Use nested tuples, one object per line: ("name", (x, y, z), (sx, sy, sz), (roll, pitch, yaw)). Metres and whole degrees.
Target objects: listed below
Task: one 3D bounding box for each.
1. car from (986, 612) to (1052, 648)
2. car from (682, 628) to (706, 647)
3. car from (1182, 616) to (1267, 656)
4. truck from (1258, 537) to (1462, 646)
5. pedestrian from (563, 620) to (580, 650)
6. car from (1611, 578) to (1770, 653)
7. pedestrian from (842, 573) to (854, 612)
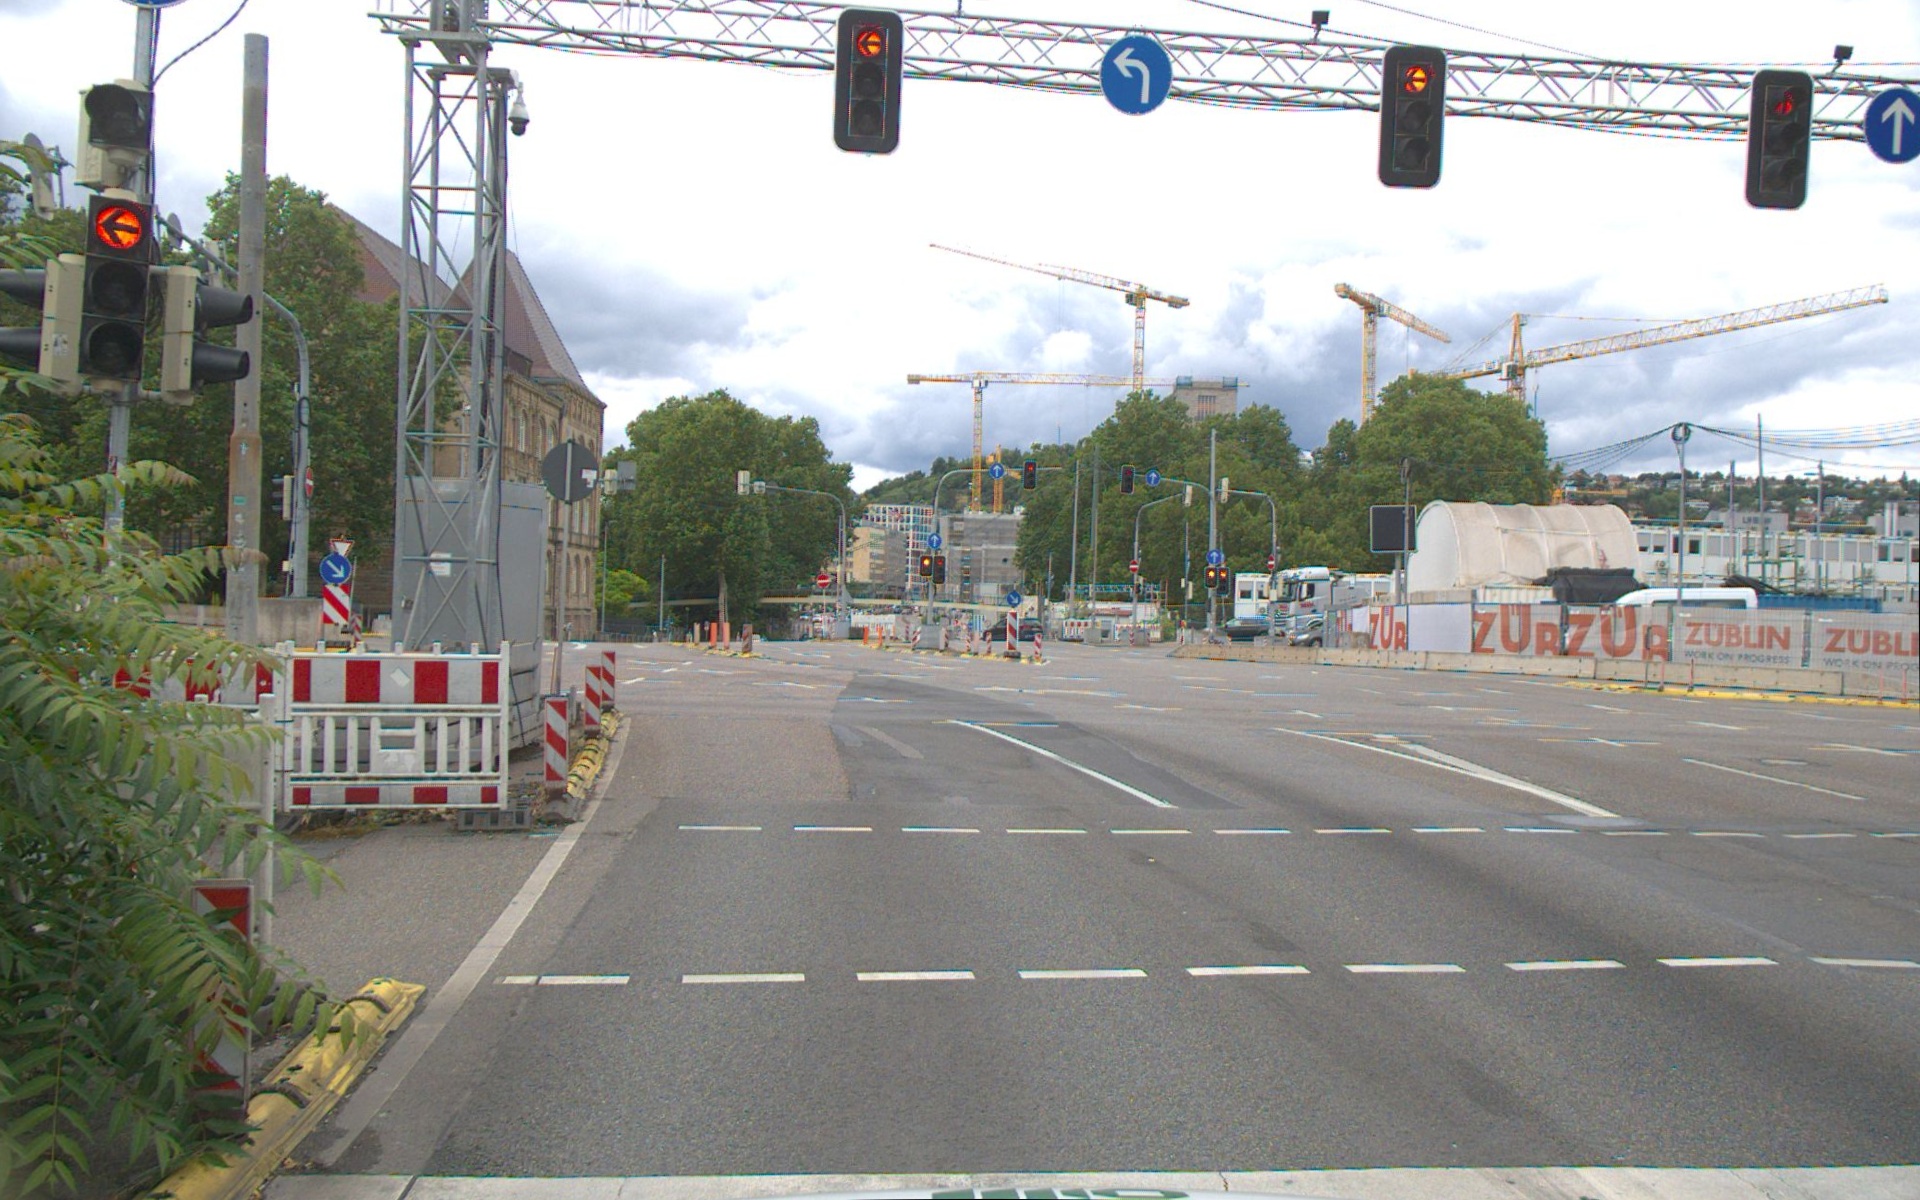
("car", (3.462, 1.773, 97.952), (1.976, 2.049, 3.953), (1, 0, -34))
("car", (-27.468, 3.873, 170.952), (1.954, 1.870, 3.997), (1, 0, -3))
("car", (14.311, 1.934, 89.568), (4.177, 2.049, 1.999), (1, 0, 23))
("truck", (19.646, -0.371, 81.289), (9.565, 5.047, 3.097), (1, 0, -19))
("pedestrian", (-26.110, 2.347, 111.258), (0.930, 2.049, 0.766), (1, -1, 1))
("car", (21.049, 0.445, 47.818), (3.902, 2.049, 2.001), (1, 0, 15))
("pedestrian", (-5.465, -0.373, 80.580), (0.574, 1.872, 0.604), (1, -1, -4))
